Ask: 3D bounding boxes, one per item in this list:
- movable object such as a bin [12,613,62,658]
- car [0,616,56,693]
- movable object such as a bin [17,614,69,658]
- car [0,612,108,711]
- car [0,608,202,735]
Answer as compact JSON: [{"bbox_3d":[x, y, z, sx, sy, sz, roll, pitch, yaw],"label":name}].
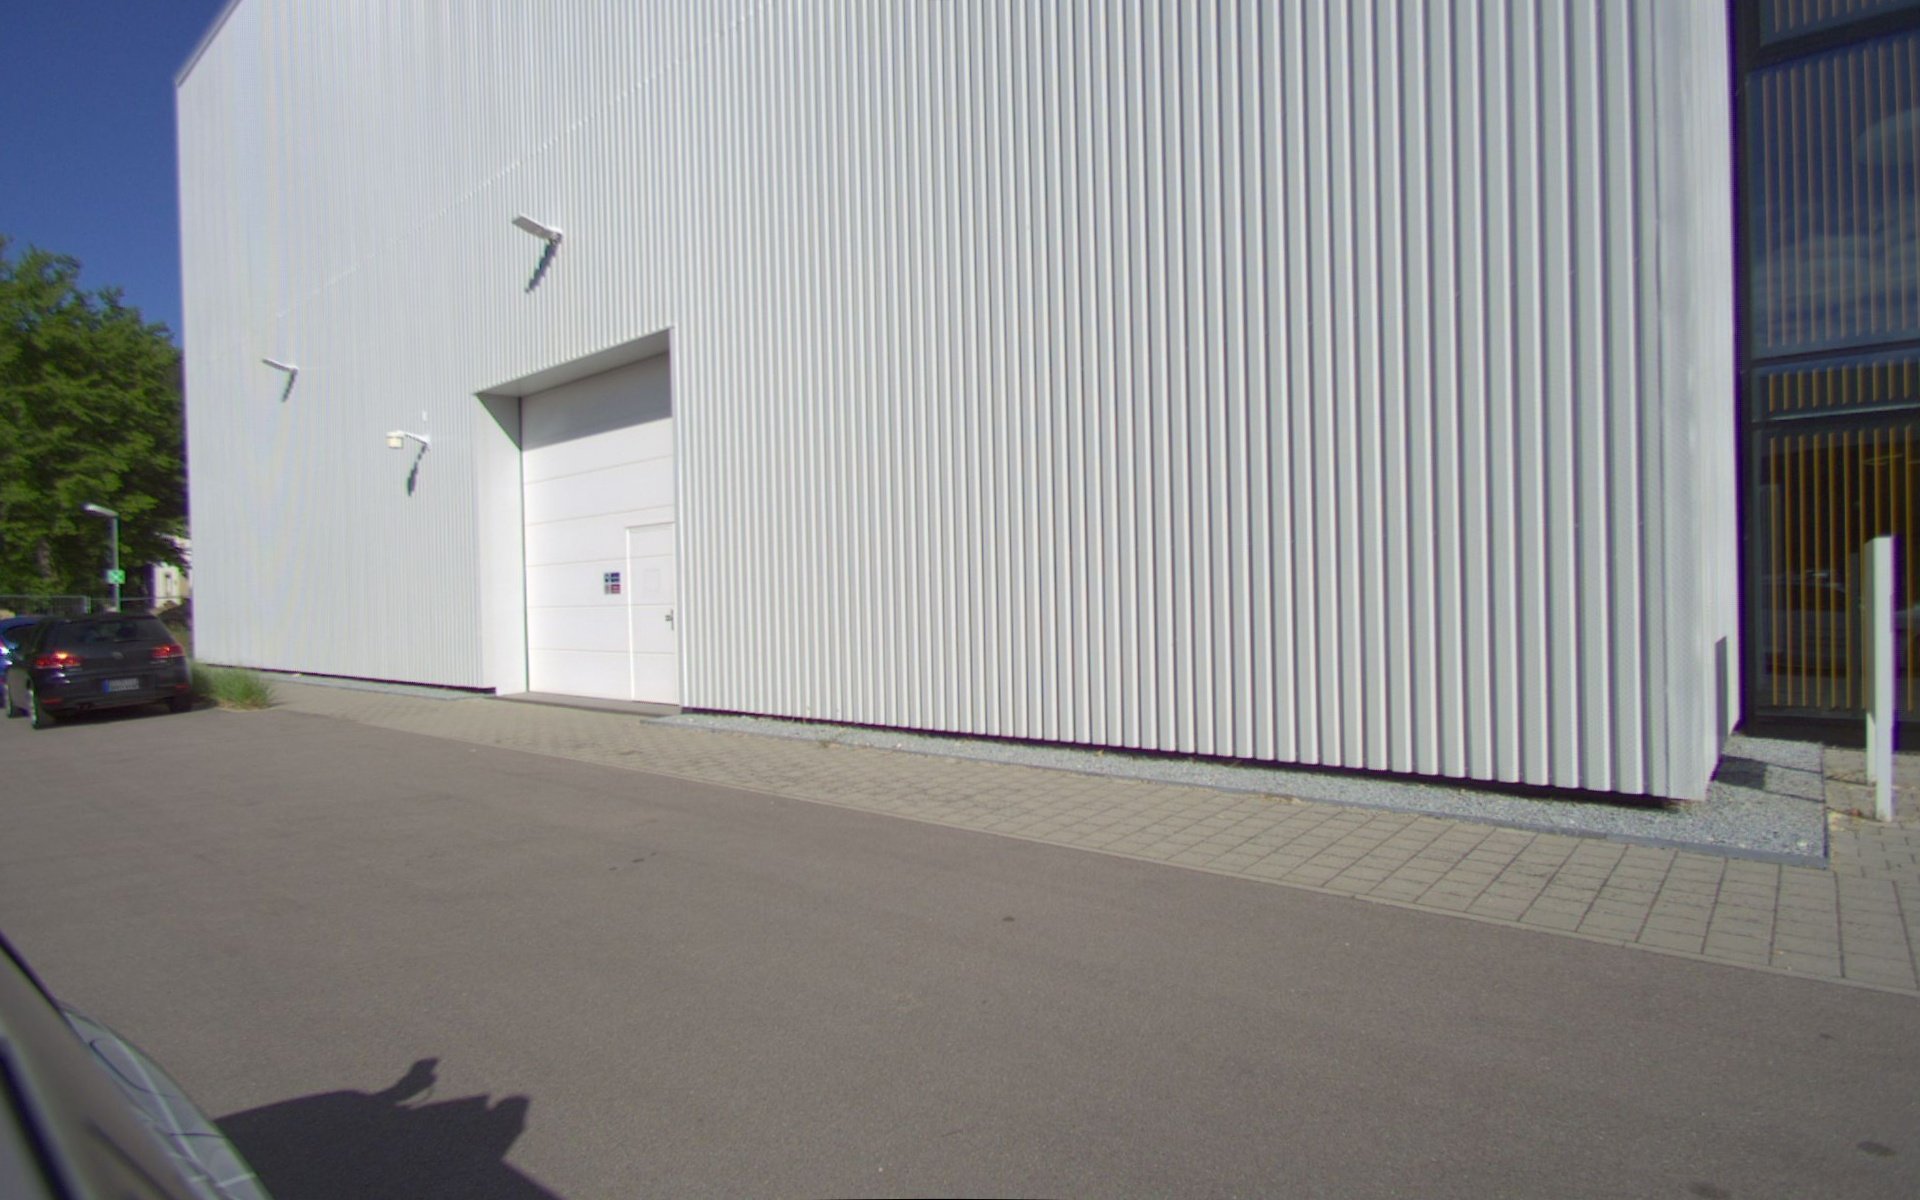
[{"bbox_3d":[-31.515,1.214,34.558,1.279,1.489,1.126,-3,-3,41],"label":"movable object such as a bin"},{"bbox_3d":[-20.449,1.151,21.154,3.794,1.459,1.695,-2,1,39],"label":"car"},{"bbox_3d":[-30.496,1.185,33.653,1.288,1.445,1.126,-2,-2,41],"label":"movable object such as a bin"},{"bbox_3d":[-16.254,1.029,17.587,3.518,1.499,1.533,-2,1,39],"label":"car"},{"bbox_3d":[-12.585,0.944,14.585,4.312,1.456,1.738,-2,2,41],"label":"car"}]
